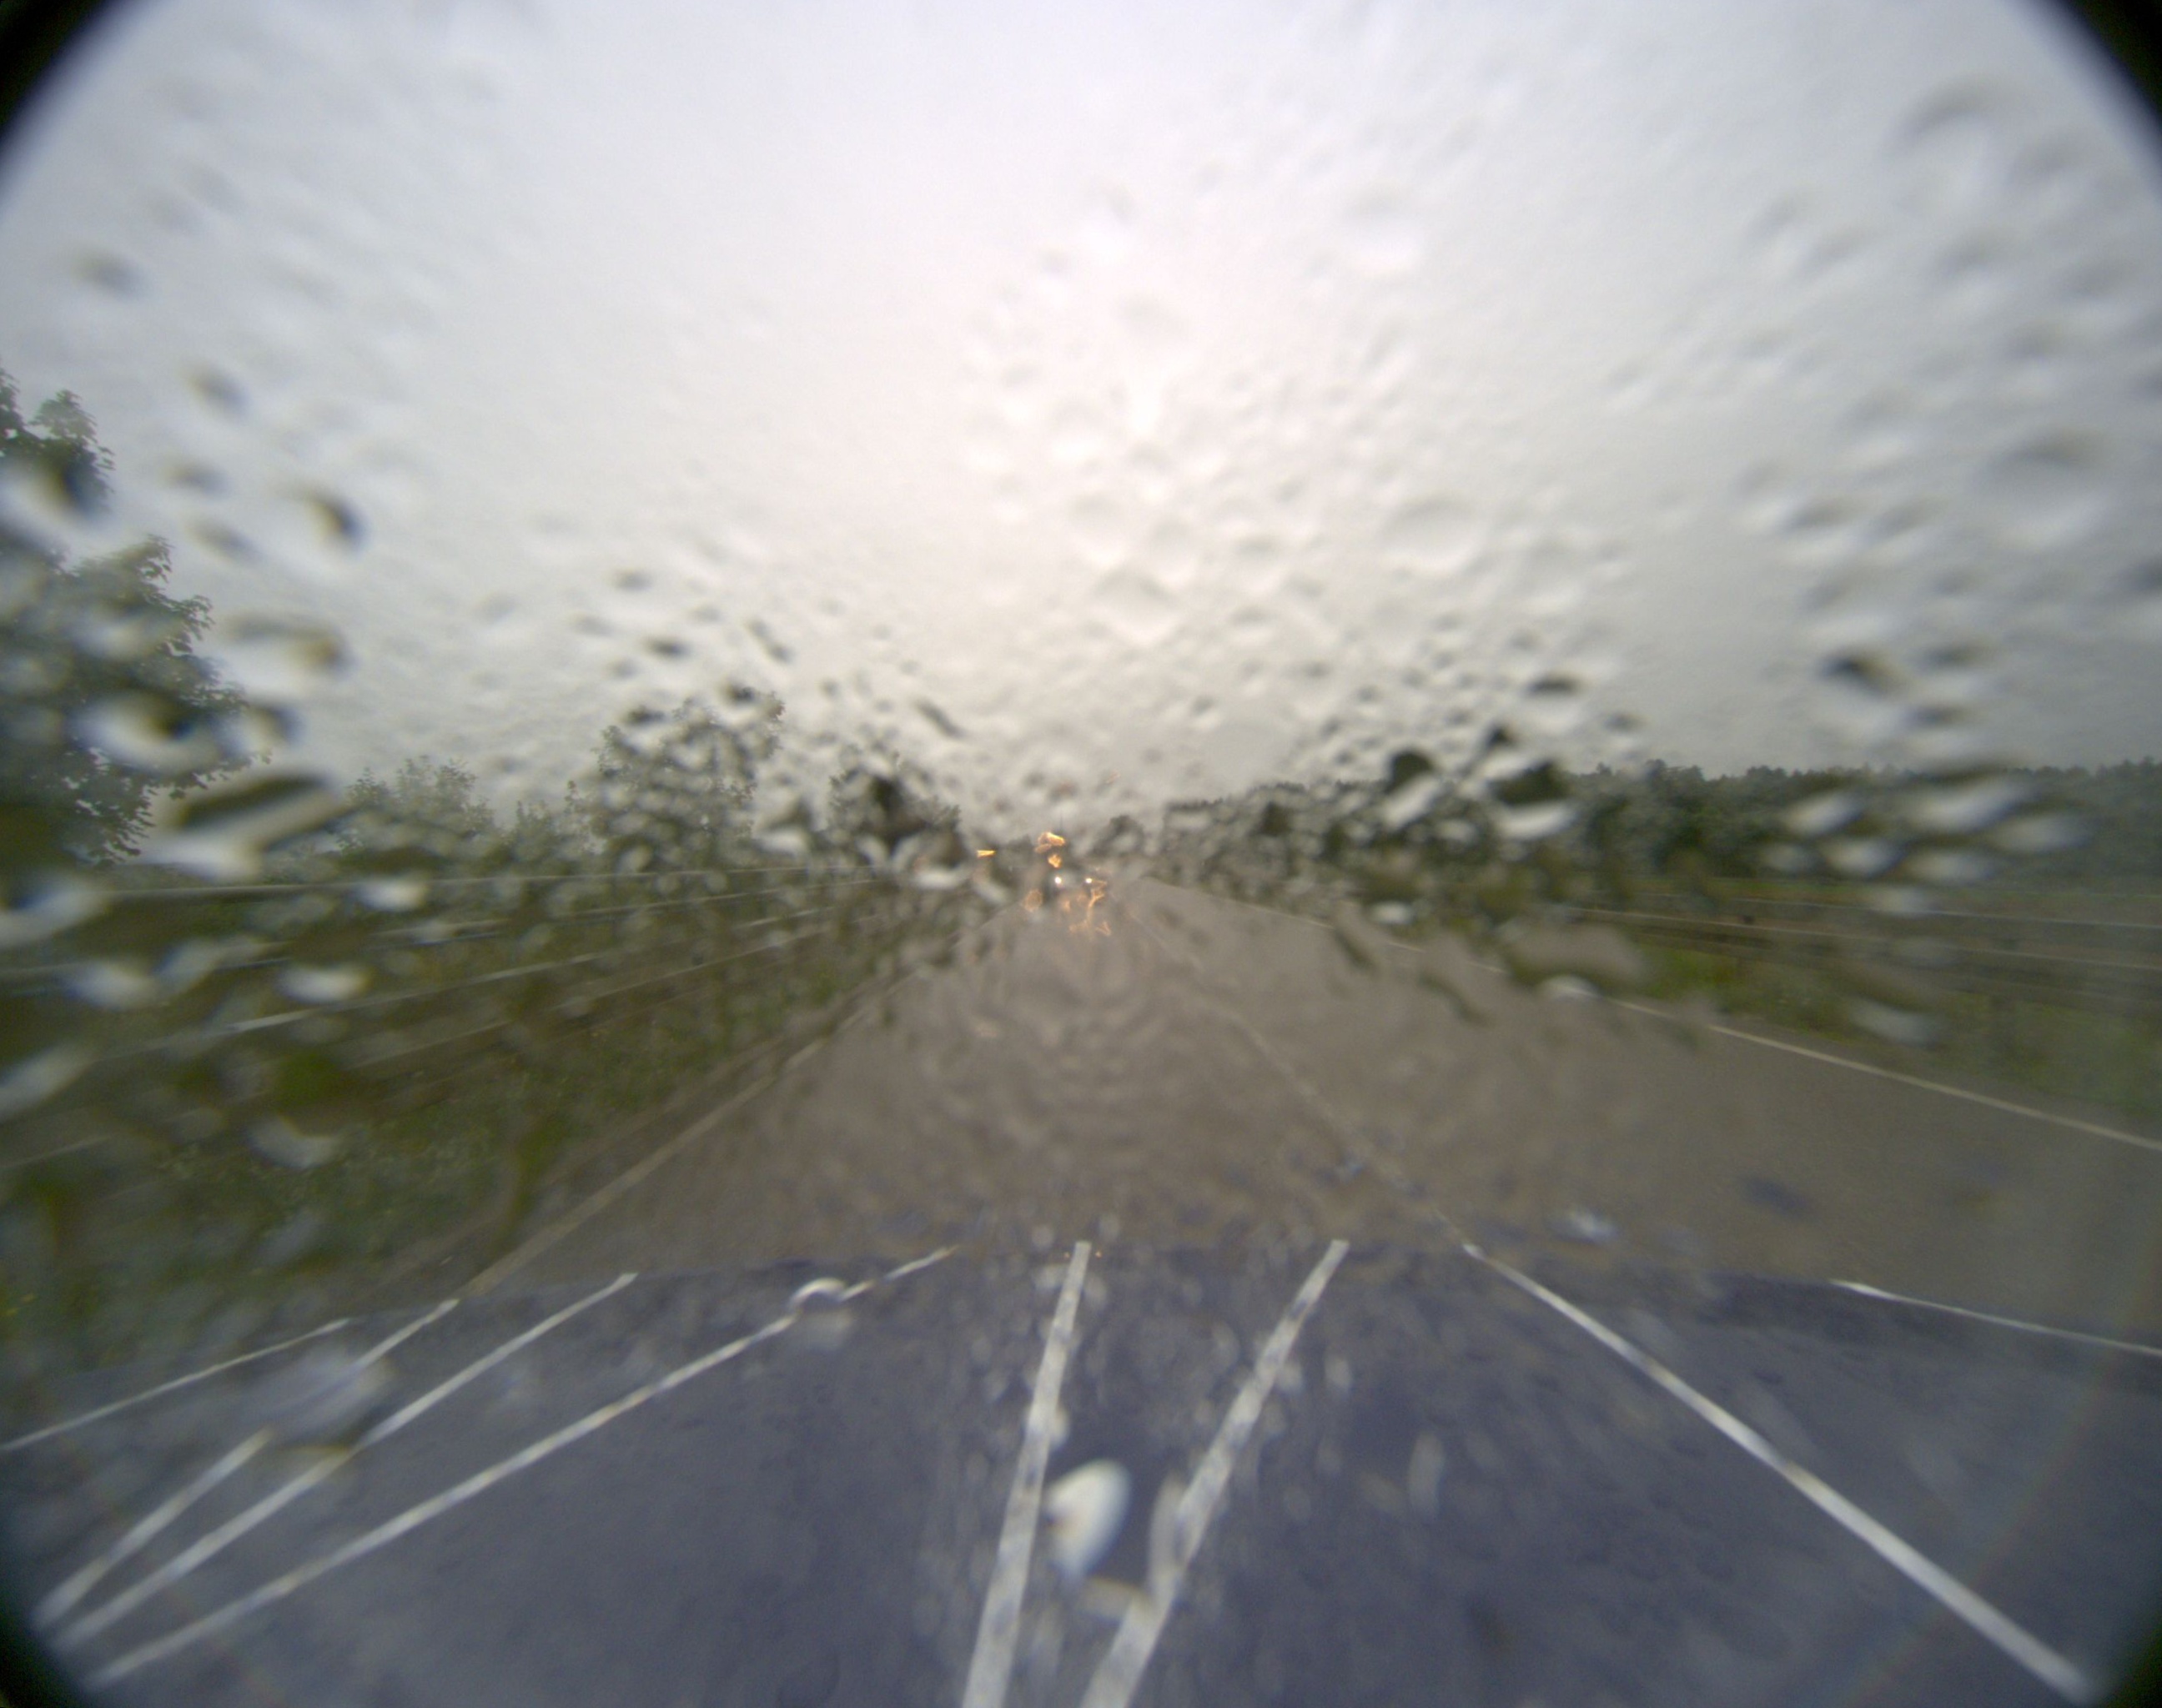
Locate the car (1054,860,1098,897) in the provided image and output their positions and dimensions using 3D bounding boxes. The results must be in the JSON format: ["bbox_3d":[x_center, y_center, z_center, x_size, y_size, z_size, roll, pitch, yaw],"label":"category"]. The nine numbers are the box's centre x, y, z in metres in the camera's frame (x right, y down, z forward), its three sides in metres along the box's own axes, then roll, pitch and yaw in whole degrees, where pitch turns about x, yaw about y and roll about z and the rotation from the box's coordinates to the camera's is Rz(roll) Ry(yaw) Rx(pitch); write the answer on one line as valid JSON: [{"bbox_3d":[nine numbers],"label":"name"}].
[{"bbox_3d":[-0.233,1.074,34.547,1.819,1.382,4.068,-3,1,-1],"label":"car"}]
